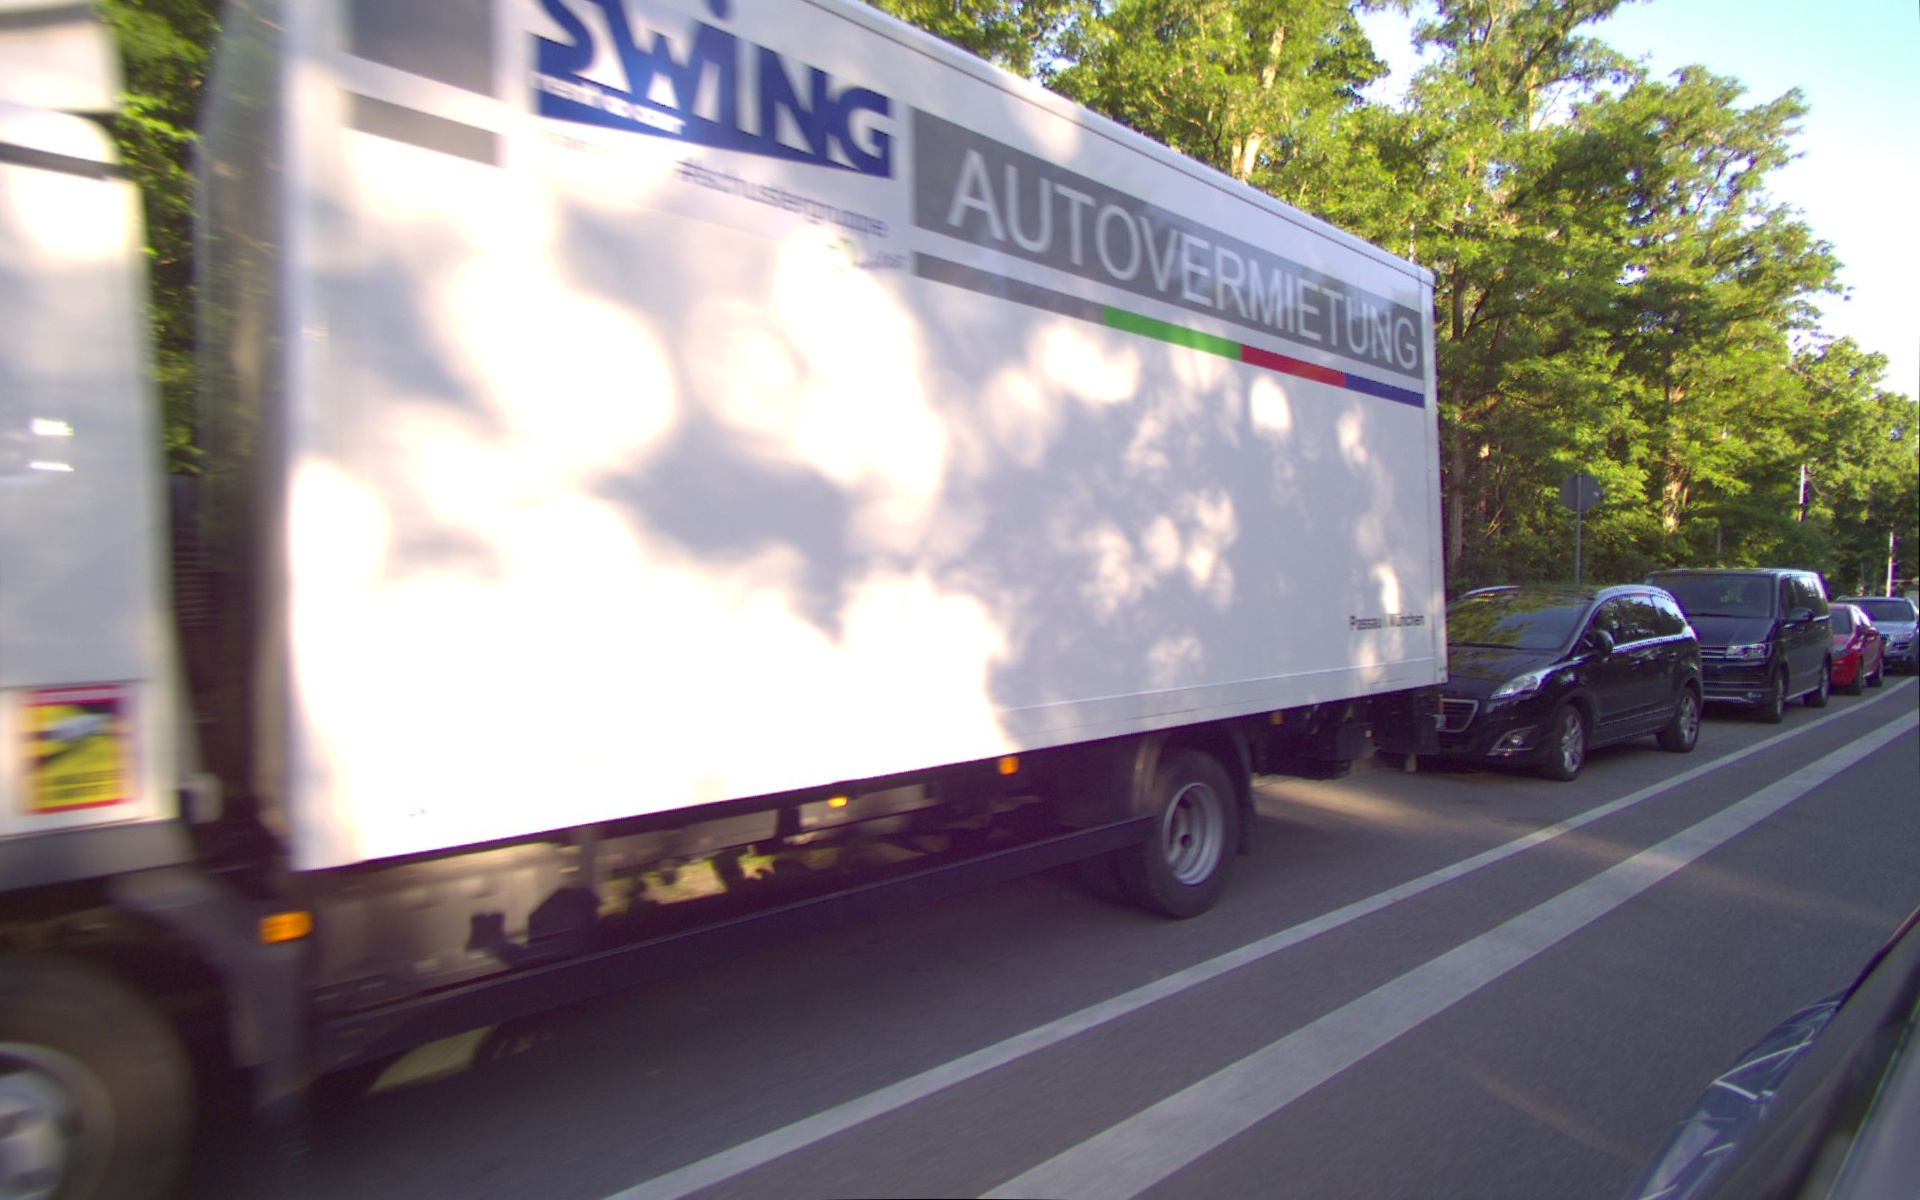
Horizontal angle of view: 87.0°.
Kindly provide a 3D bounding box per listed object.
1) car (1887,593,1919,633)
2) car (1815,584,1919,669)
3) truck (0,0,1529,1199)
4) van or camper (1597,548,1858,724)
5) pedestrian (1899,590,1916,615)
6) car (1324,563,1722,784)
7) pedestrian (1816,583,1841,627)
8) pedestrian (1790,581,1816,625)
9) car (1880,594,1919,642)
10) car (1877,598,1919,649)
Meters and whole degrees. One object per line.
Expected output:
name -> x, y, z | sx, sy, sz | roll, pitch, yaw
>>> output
car -> 38.844, 0.514, 40.913 | 4.287, 1.543, 1.739 | 0, 2, -44
car -> 19.864, 0.506, 21.682 | 3.959, 1.614, 1.802 | 0, 2, -42
truck -> -0.456, -0.388, 4.778 | 8.430, 3.541, 2.837 | 0, 2, -42
van or camper -> 10.643, 0.381, 13.916 | 4.505, 2.038, 1.902 | 0, 2, -40
pedestrian -> 70.821, 0.179, 75.617 | 0.721, 1.821, 0.808 | 0, 2, -41
car -> 5.436, 0.537, 9.618 | 3.953, 1.677, 1.804 | 0, 2, -36
pedestrian -> 36.595, 0.211, 42.643 | 0.675, 1.820, 0.777 | 5, 3, 44
pedestrian -> 35.904, 0.108, 43.107 | 0.675, 1.820, 0.938 | 5, 3, 44
car -> 31.245, 0.547, 33.117 | 1.616, 1.487, 3.666 | 0, 0, 43
car -> 28.049, 0.656, 29.655 | 1.595, 1.419, 3.737 | 1, 1, 45
